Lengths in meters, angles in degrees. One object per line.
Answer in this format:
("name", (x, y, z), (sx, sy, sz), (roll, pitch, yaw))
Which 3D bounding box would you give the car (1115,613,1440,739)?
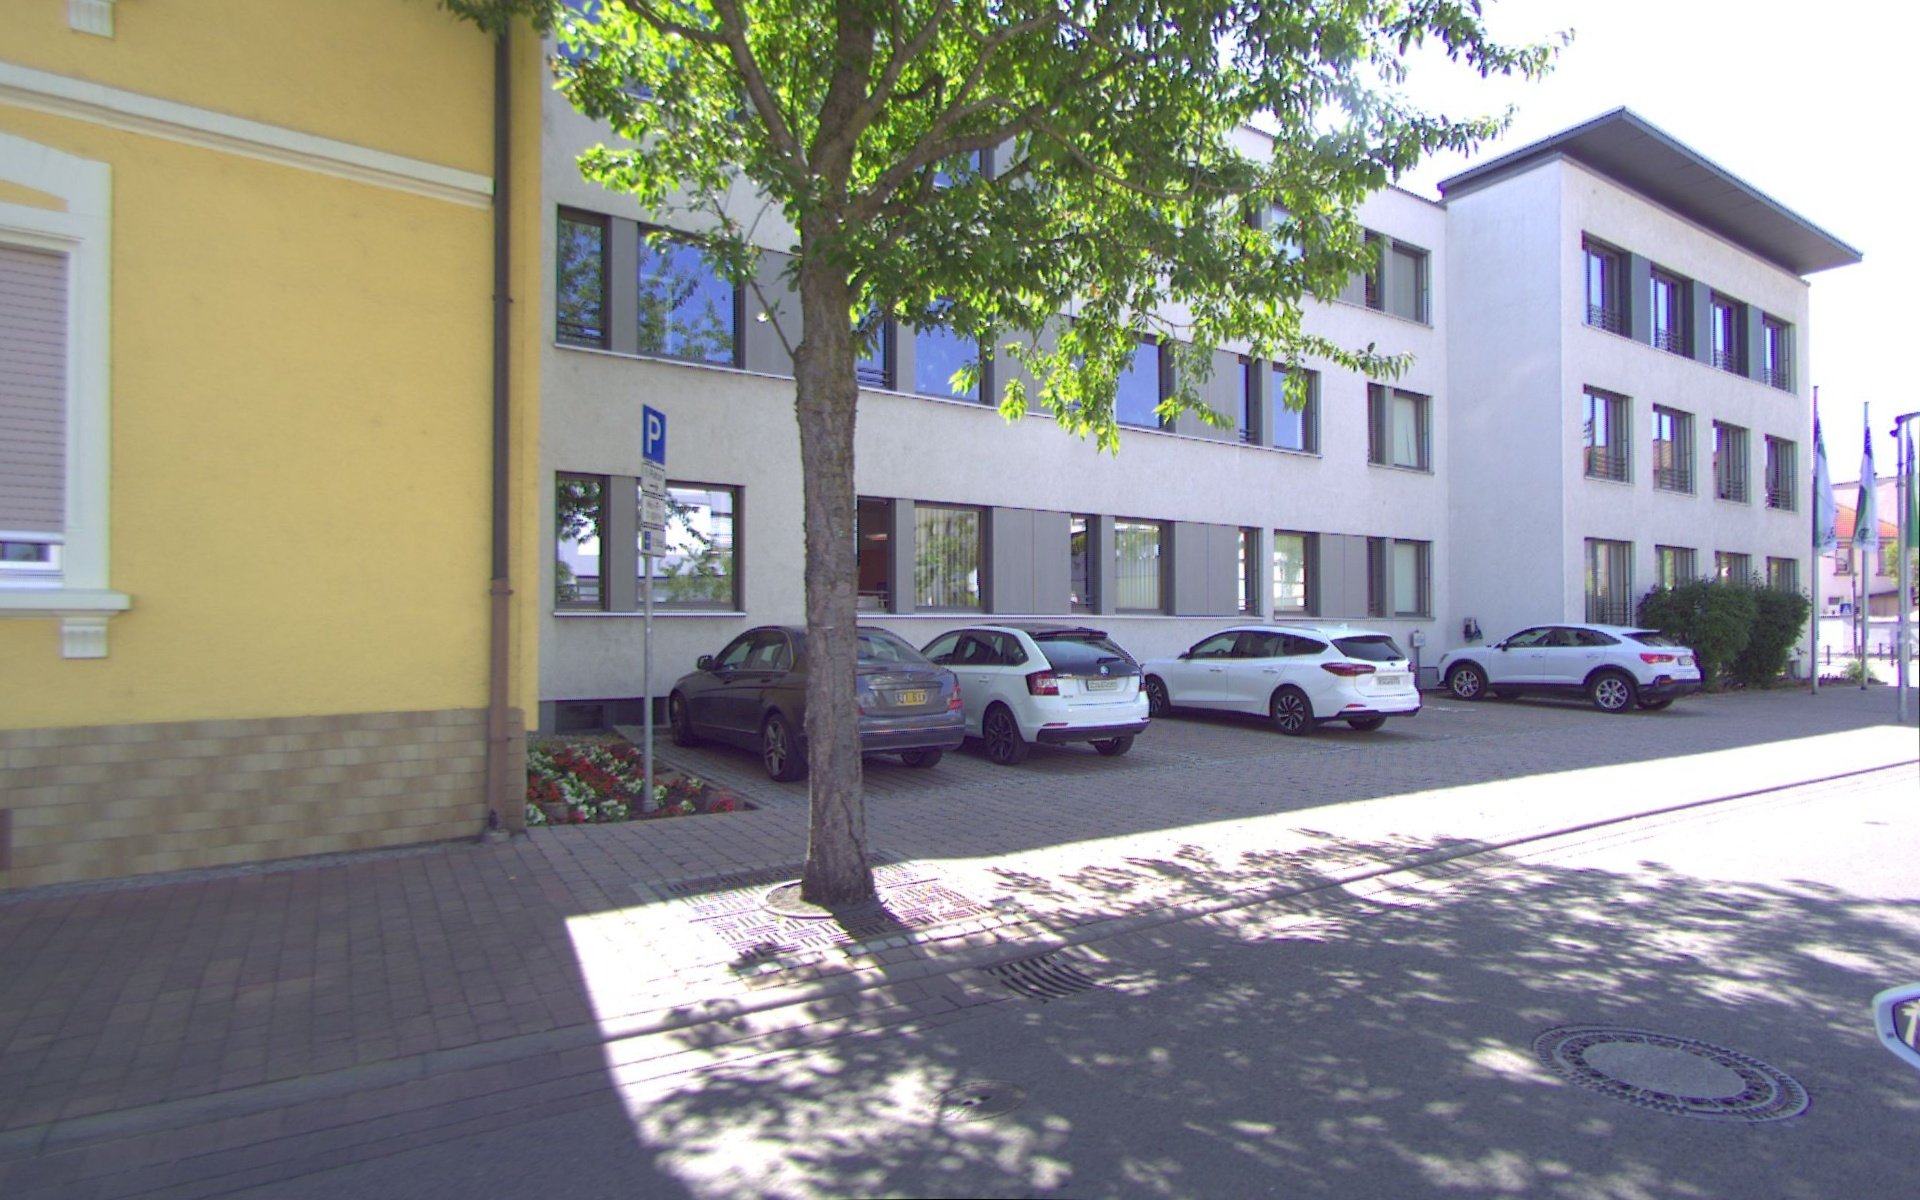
("car", (4.519, 0.995, 14.989), (1.914, 1.575, 4.479), (0, -1, -32))

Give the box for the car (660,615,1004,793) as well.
("car", (-1.521, 0.898, 10.548), (1.953, 1.450, 3.959), (1, 0, -36))

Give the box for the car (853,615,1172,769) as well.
("car", (0.440, 0.923, 11.894), (1.788, 1.470, 3.963), (0, -1, -34))

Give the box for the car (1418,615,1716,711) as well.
("car", (11.566, 1.115, 19.445), (2.125, 1.574, 4.480), (1, -1, -33))
